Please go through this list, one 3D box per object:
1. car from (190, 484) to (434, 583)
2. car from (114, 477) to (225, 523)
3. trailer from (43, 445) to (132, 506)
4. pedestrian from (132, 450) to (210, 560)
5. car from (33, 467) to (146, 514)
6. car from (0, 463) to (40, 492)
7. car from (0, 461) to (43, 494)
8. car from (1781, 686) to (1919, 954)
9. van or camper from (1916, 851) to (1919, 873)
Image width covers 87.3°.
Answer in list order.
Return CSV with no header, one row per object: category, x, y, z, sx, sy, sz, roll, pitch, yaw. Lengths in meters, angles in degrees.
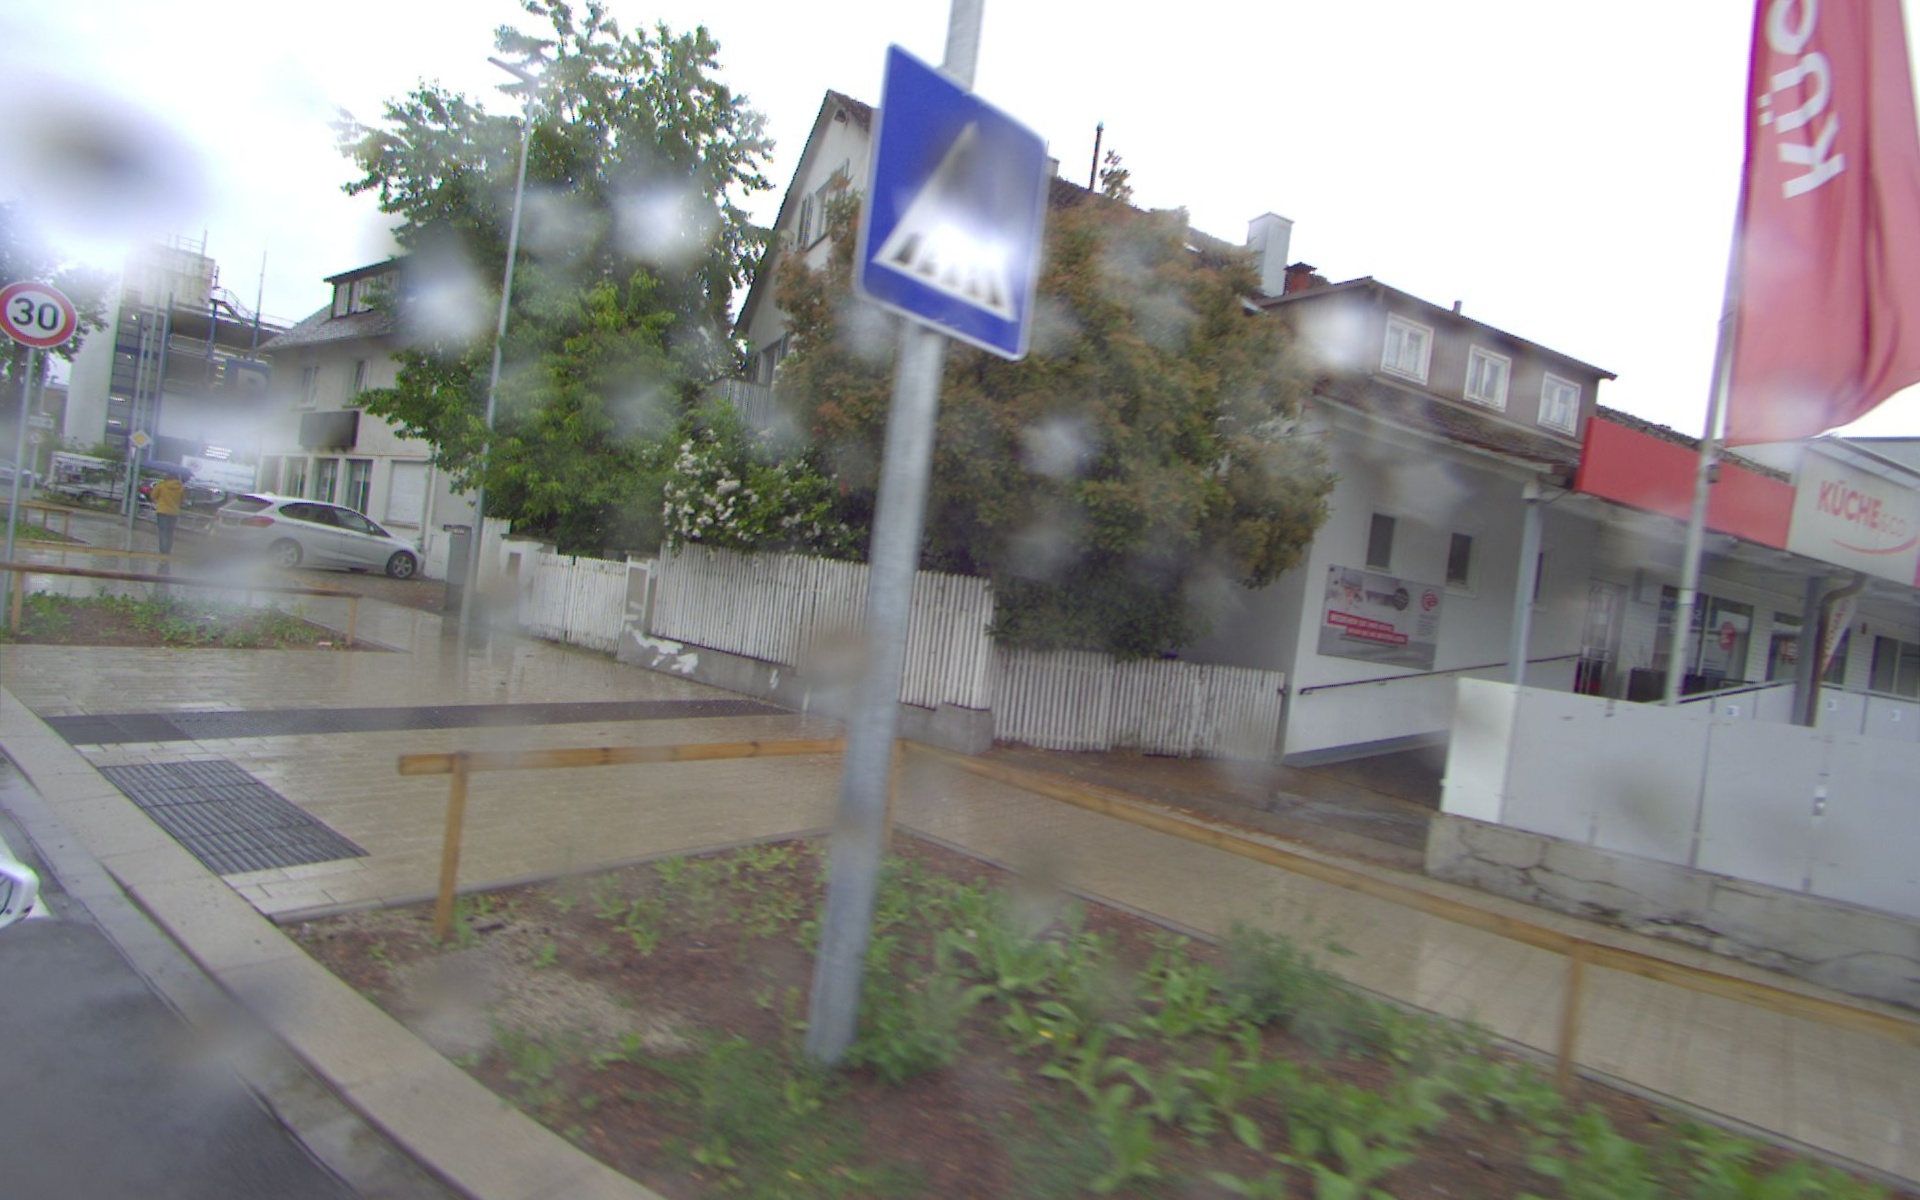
car,-14.523,-1.438,22.818,1.965,1.600,4.137,9,1,26
car,-43.066,-5.436,54.886,1.817,1.671,4.355,8,-1,38
trailer,-39.218,-5.584,45.235,1.527,2.197,2.699,9,0,42
pedestrian,-15.780,-1.900,20.105,1.177,2.040,0.858,8,3,39
car,-40.877,-5.112,47.310,1.626,1.547,3.722,7,0,40
car,-60.964,-7.966,63.862,3.607,1.513,1.785,8,0,-41
car,-59.300,-7.712,61.766,4.189,1.670,1.977,7,1,-40
car,8.172,1.800,6.489,1.836,1.711,4.117,8,0,-44
van or camper,13.373,2.206,9.832,2.108,2.571,5.220,8,0,-30
